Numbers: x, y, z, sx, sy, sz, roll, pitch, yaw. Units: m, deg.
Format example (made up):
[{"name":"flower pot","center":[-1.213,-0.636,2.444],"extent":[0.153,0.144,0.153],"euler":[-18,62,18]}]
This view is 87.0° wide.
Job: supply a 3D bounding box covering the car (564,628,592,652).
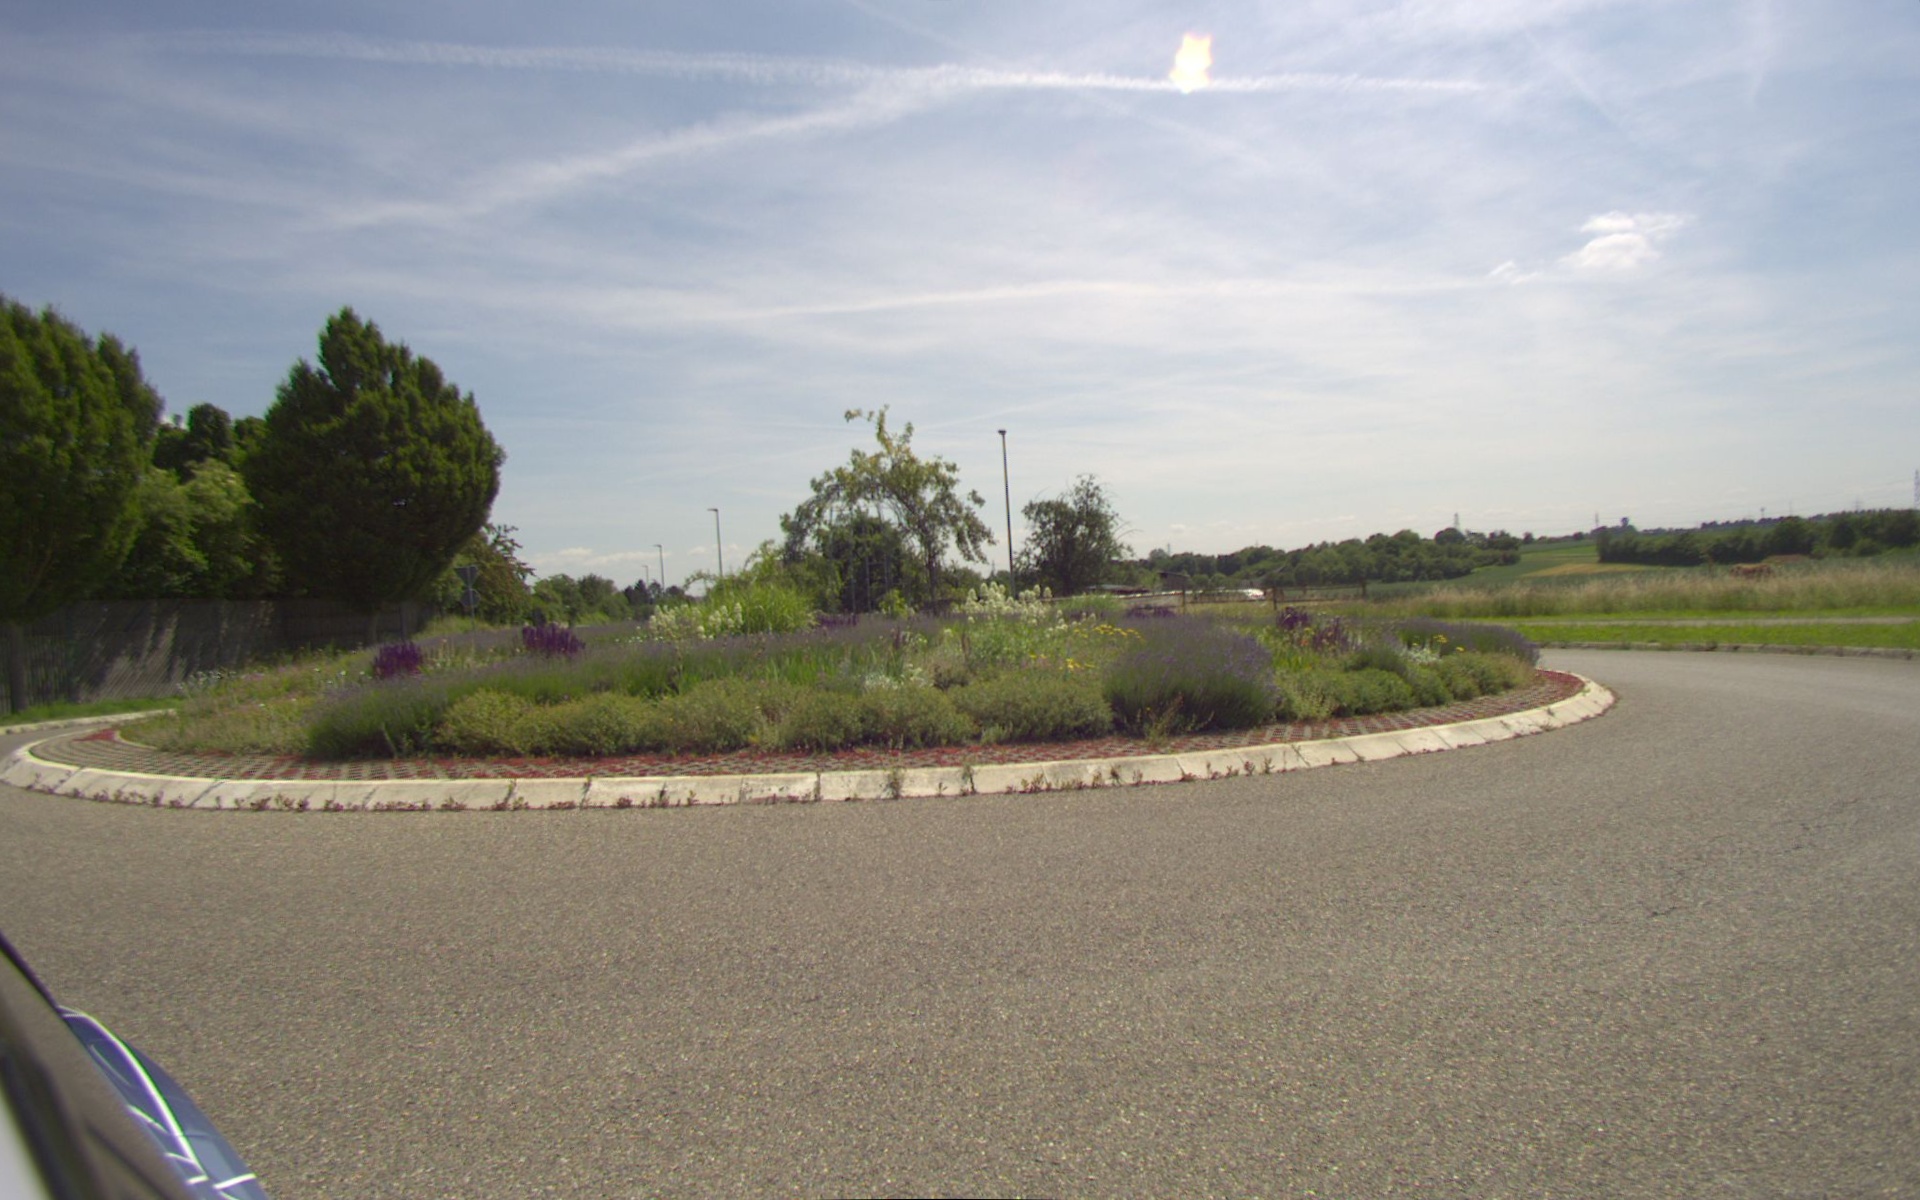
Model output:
[{"name":"car","center":[-28.020,2.919,74.104],"extent":[1.588,1.626,4.235],"euler":[-1,-1,-25]}]
